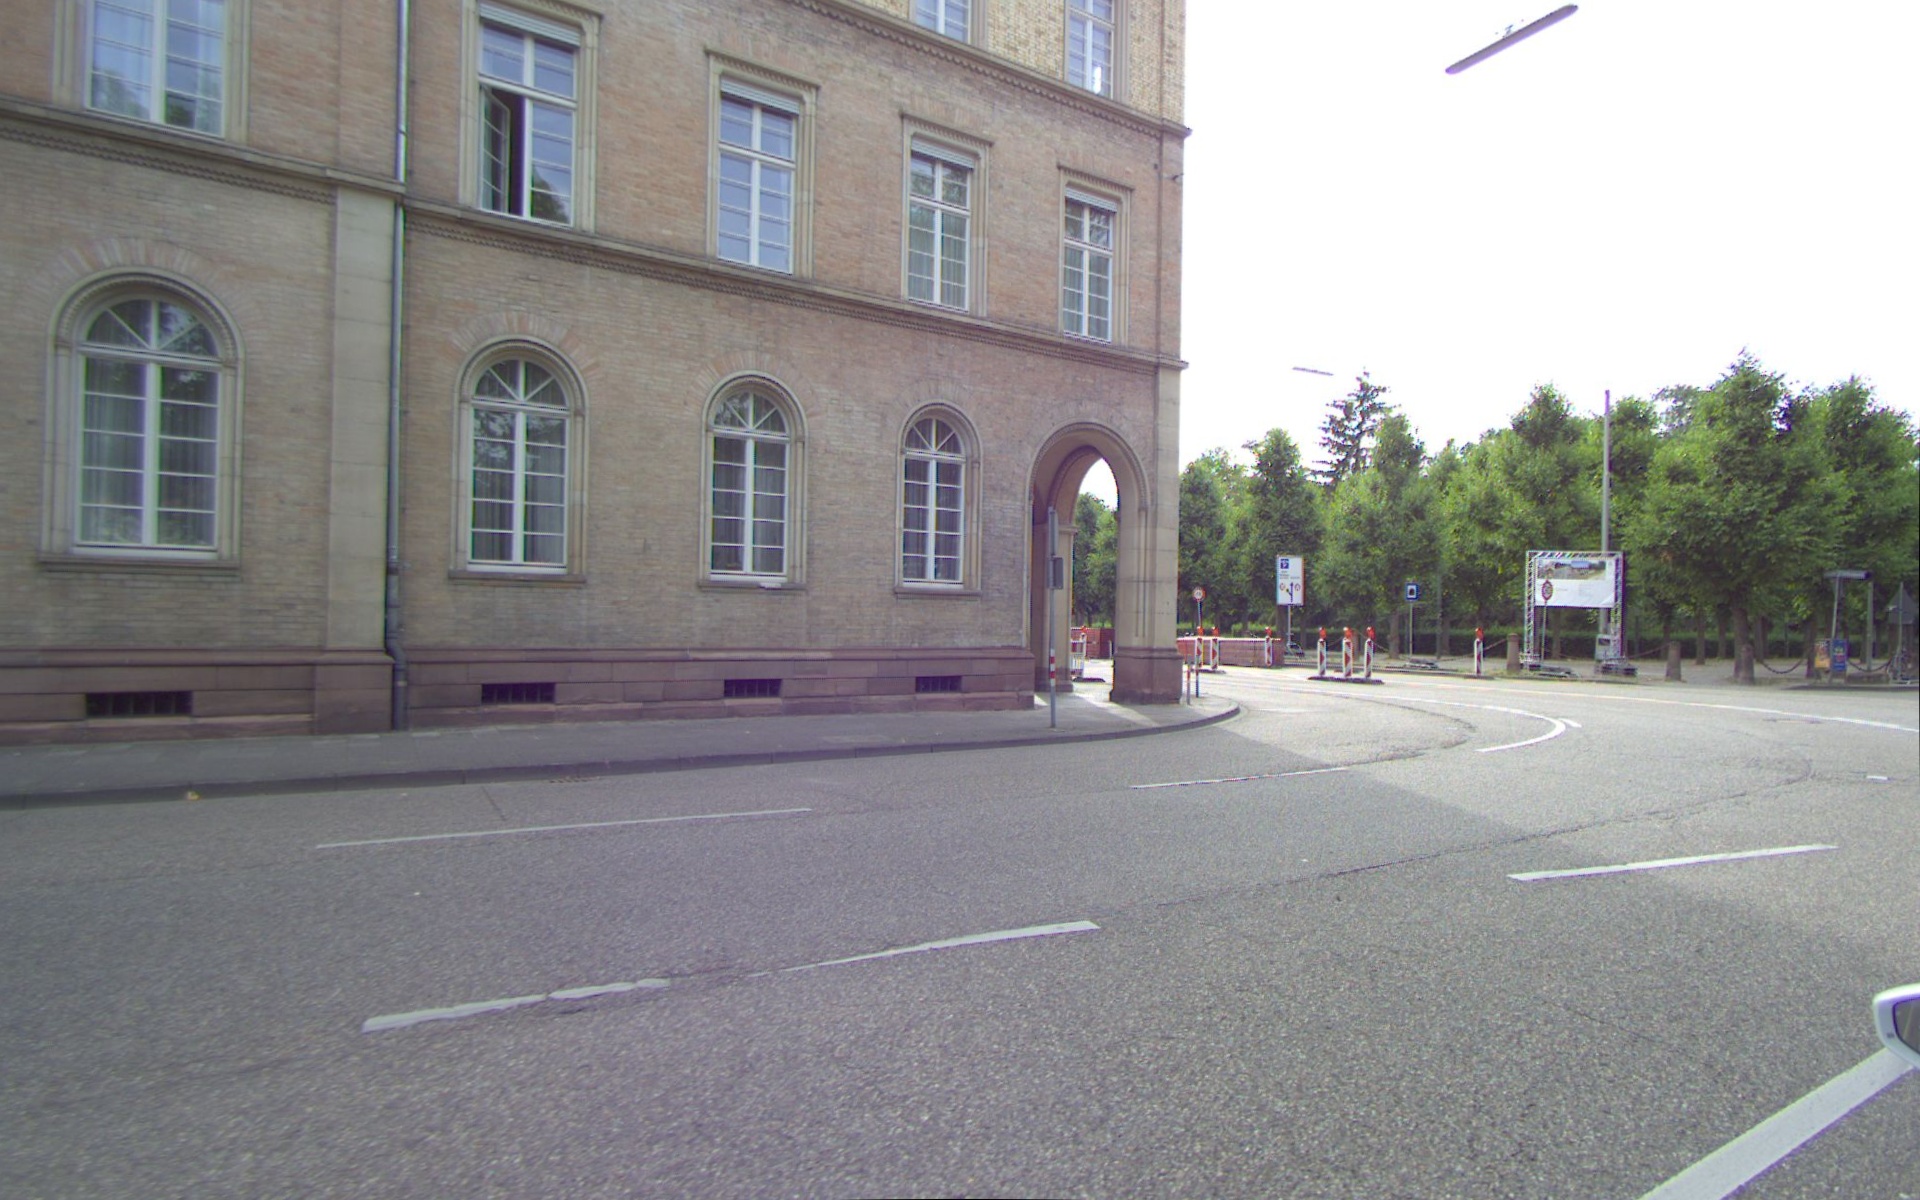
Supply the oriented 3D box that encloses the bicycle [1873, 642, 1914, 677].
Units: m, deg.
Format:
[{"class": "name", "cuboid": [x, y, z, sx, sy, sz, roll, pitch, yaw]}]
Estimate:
[{"class": "bicycle", "cuboid": [33.110, 2.081, 35.646, 0.941, 1.125, 2.566, 2, 0, 41]}]
